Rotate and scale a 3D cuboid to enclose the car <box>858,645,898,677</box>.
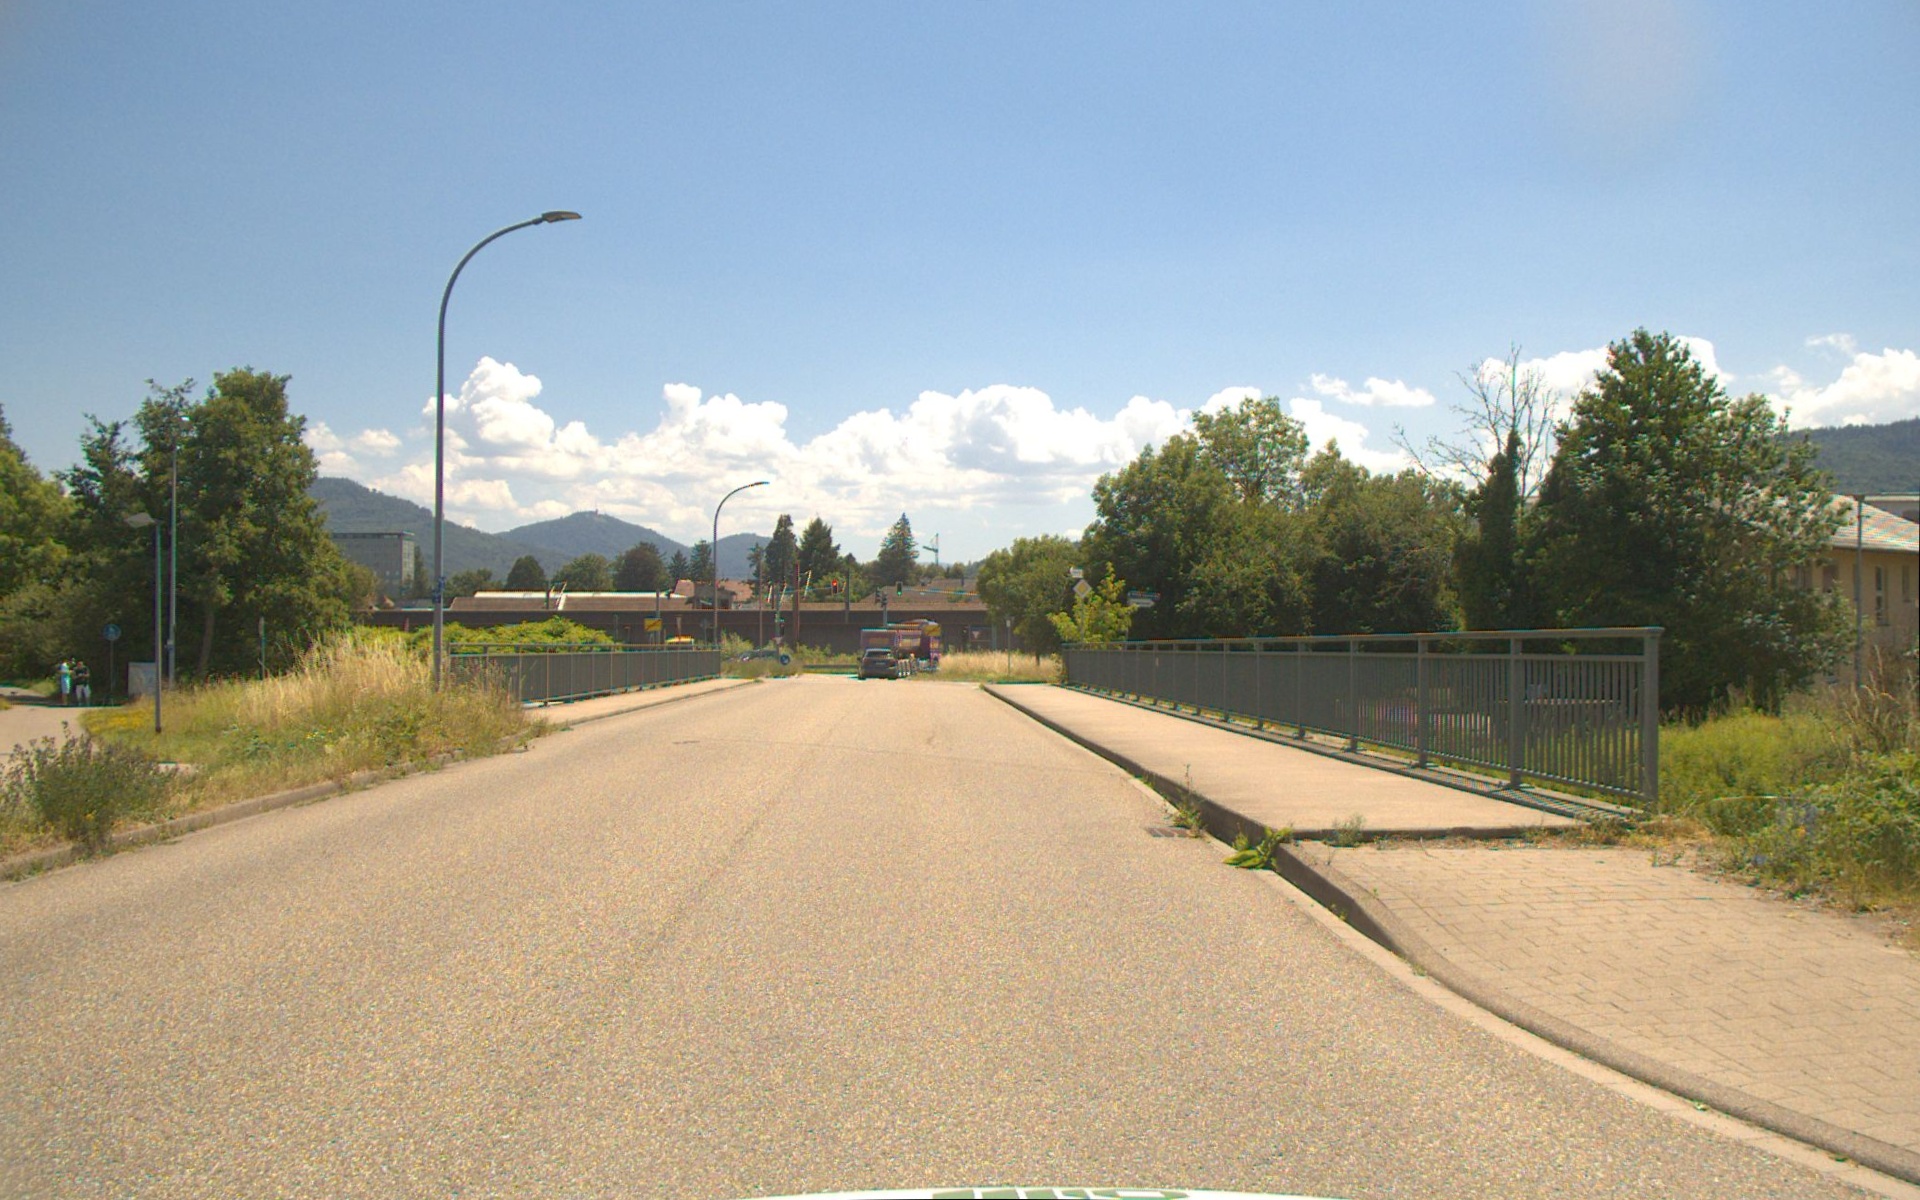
[{"bbox_3d":[-4.198,3.112,84.684,1.954,1.529,3.997,2,-2,-3],"label":"car"}]

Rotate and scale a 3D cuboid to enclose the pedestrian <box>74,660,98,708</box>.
[{"bbox_3d":[-32.132,3.090,60.815,0.618,1.703,0.594,3,-3,-23],"label":"pedestrian"}]

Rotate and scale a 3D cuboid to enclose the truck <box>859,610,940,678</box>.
[{"bbox_3d":[-3.928,3.058,111.273,2.932,4.254,11.815,0,-3,10],"label":"truck"}]

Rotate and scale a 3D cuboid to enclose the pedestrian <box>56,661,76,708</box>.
[{"bbox_3d":[-32.620,3.075,60.330,0.506,1.703,0.624,3,-3,-24],"label":"pedestrian"}]

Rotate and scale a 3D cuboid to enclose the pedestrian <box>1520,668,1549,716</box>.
[{"bbox_3d":[17.746,2.838,51.108,0.666,1.417,0.851,-2,1,10],"label":"pedestrian"}]

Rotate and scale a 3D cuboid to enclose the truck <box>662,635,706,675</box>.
[{"bbox_3d":[-17.734,3.552,106.043,2.271,2.379,9.020,-1,-2,-12],"label":"truck"}]
